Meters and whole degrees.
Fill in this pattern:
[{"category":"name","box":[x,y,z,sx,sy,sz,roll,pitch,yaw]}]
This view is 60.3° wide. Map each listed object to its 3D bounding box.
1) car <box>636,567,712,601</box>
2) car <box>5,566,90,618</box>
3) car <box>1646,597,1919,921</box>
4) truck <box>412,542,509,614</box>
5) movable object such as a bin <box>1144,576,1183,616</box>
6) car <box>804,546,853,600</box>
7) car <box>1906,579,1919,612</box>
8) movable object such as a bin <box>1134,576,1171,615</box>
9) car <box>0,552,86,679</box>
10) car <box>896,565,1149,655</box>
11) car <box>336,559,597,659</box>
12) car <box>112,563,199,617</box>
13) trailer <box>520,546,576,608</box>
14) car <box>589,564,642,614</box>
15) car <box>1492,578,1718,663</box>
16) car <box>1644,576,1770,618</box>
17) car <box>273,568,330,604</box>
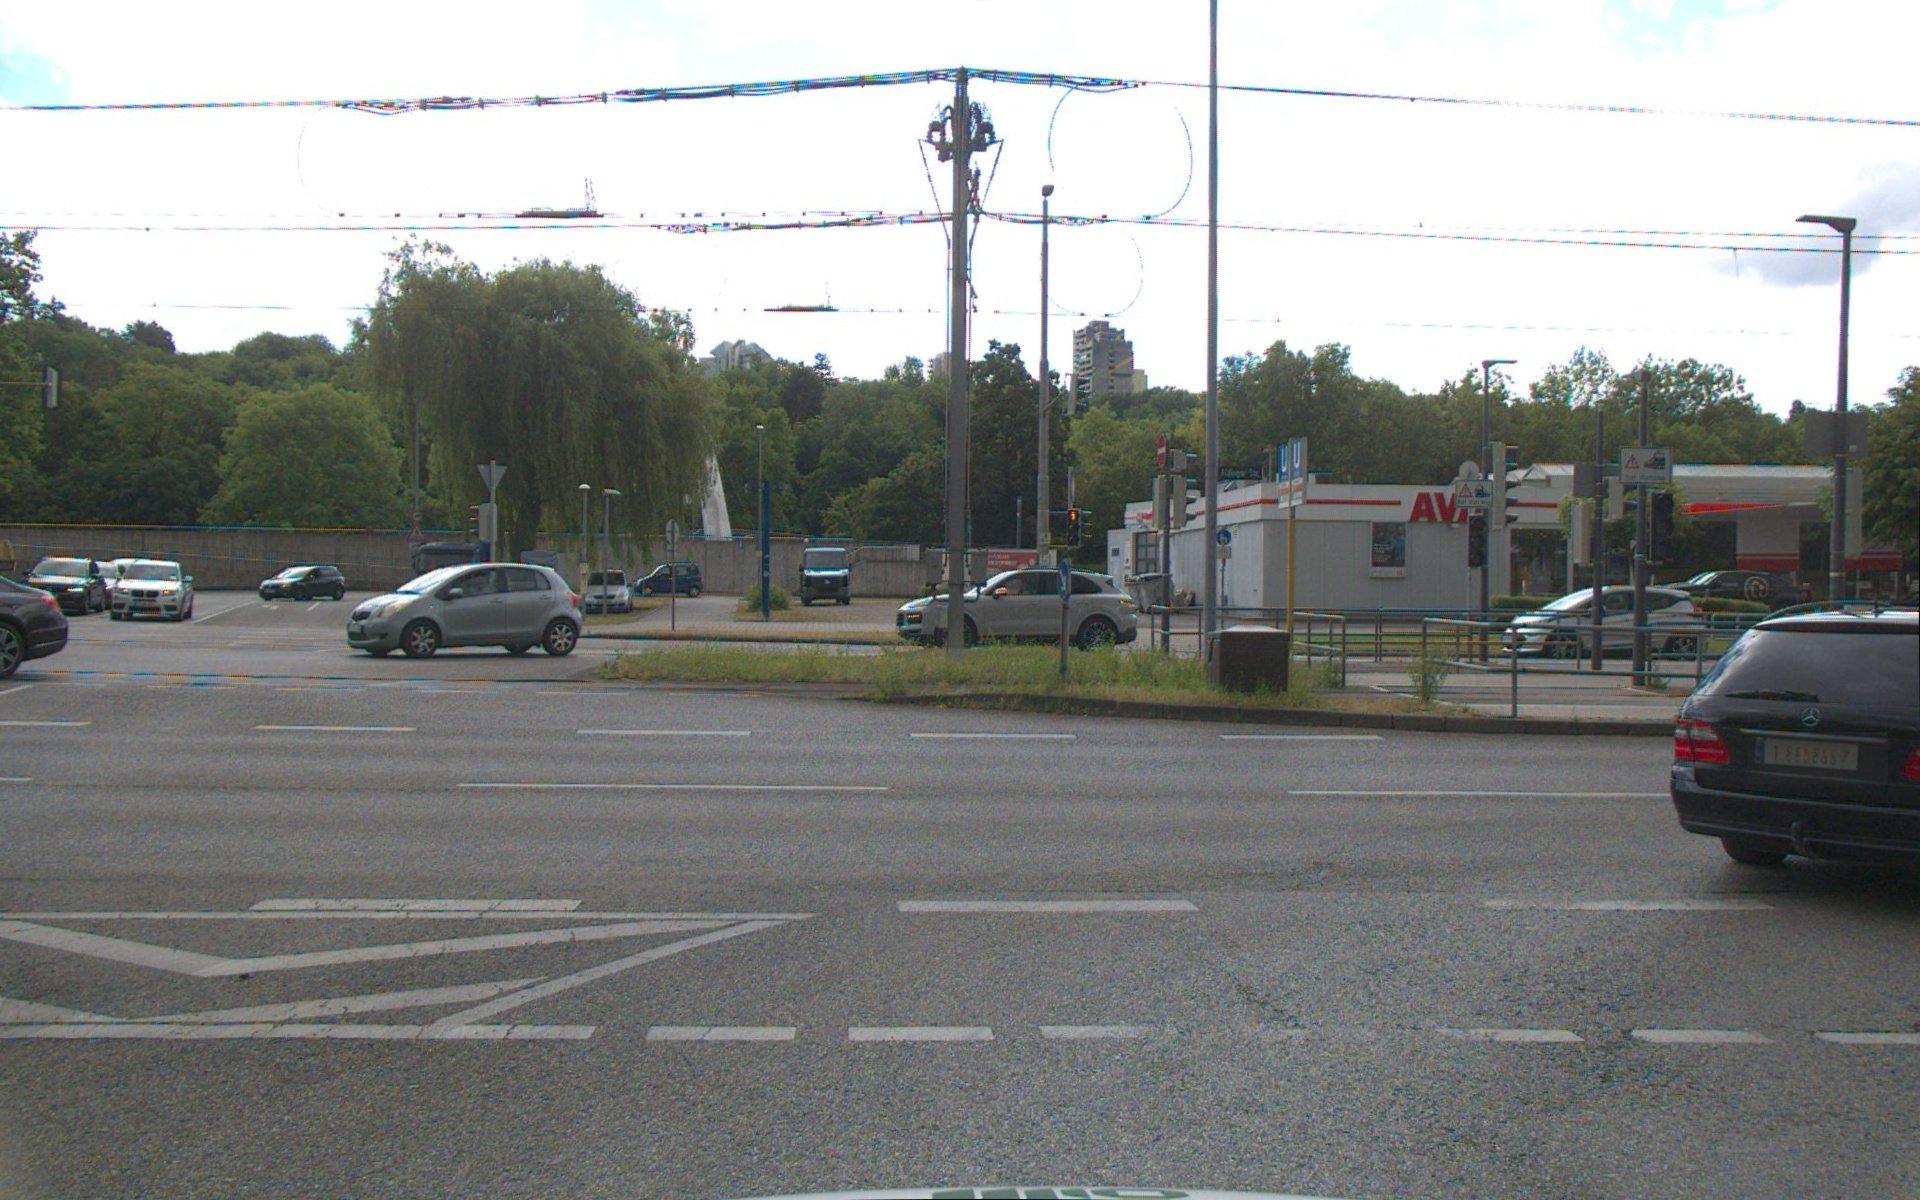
[{"category":"car","box":[-14.472,-0.803,83.585,3.572,1.582,1.719,1,-1,-18]},{"category":"car","box":[-27.361,-0.257,49.562,1.777,1.457,3.594,0,1,-37]},{"category":"car","box":[5.885,0.754,9.527,4.375,1.504,1.812,0,0,-41]},{"category":"truck","box":[-18.514,-0.812,61.632,2.332,2.538,5.819,1,1,-6]},{"category":"movable object such as a bin","box":[7.952,-0.136,64.622,1.340,1.521,1.104,1,-1,-1]},{"category":"car","box":[-5.501,-1.075,68.748,1.806,2.088,4.374,1,-1,-7]},{"category":"car","box":[53.565,-0.200,89.395,3.971,1.783,1.912,1,-1,-9]},{"category":"movable object such as a bin","box":[7.730,-0.180,66.533,1.340,1.510,1.104,1,-1,-1]},{"category":"car","box":[-12.543,0.164,18.348,1.789,1.476,4.992,1,1,24]},{"category":"car","box":[1.209,0.200,32.830,4.753,1.671,1.672,1,0,-12]},{"category":"car","box":[-8.010,0.136,26.999,3.755,1.513,1.652,0,1,-42]},{"category":"car","box":[-23.353,-0.321,48.144,1.764,1.457,4.393,1,1,-20]},{"category":"trailer","box":[-15.926,-0.847,64.092,1.526,2.297,4.385,1,-1,-7]},{"category":"car","box":[-13.152,-0.454,63.302,1.717,1.773,3.850,1,2,-9]},{"category":"car","box":[13.364,0.413,34.390,4.031,1.669,1.748,1,0,-6]},{"category":"car","box":[25.367,-0.110,56.217,3.553,1.373,1.616,1,1,-6]},{"category":"car","box":[-27.944,-0.608,70.323,1.761,1.457,4.266,1,1,-16]}]
